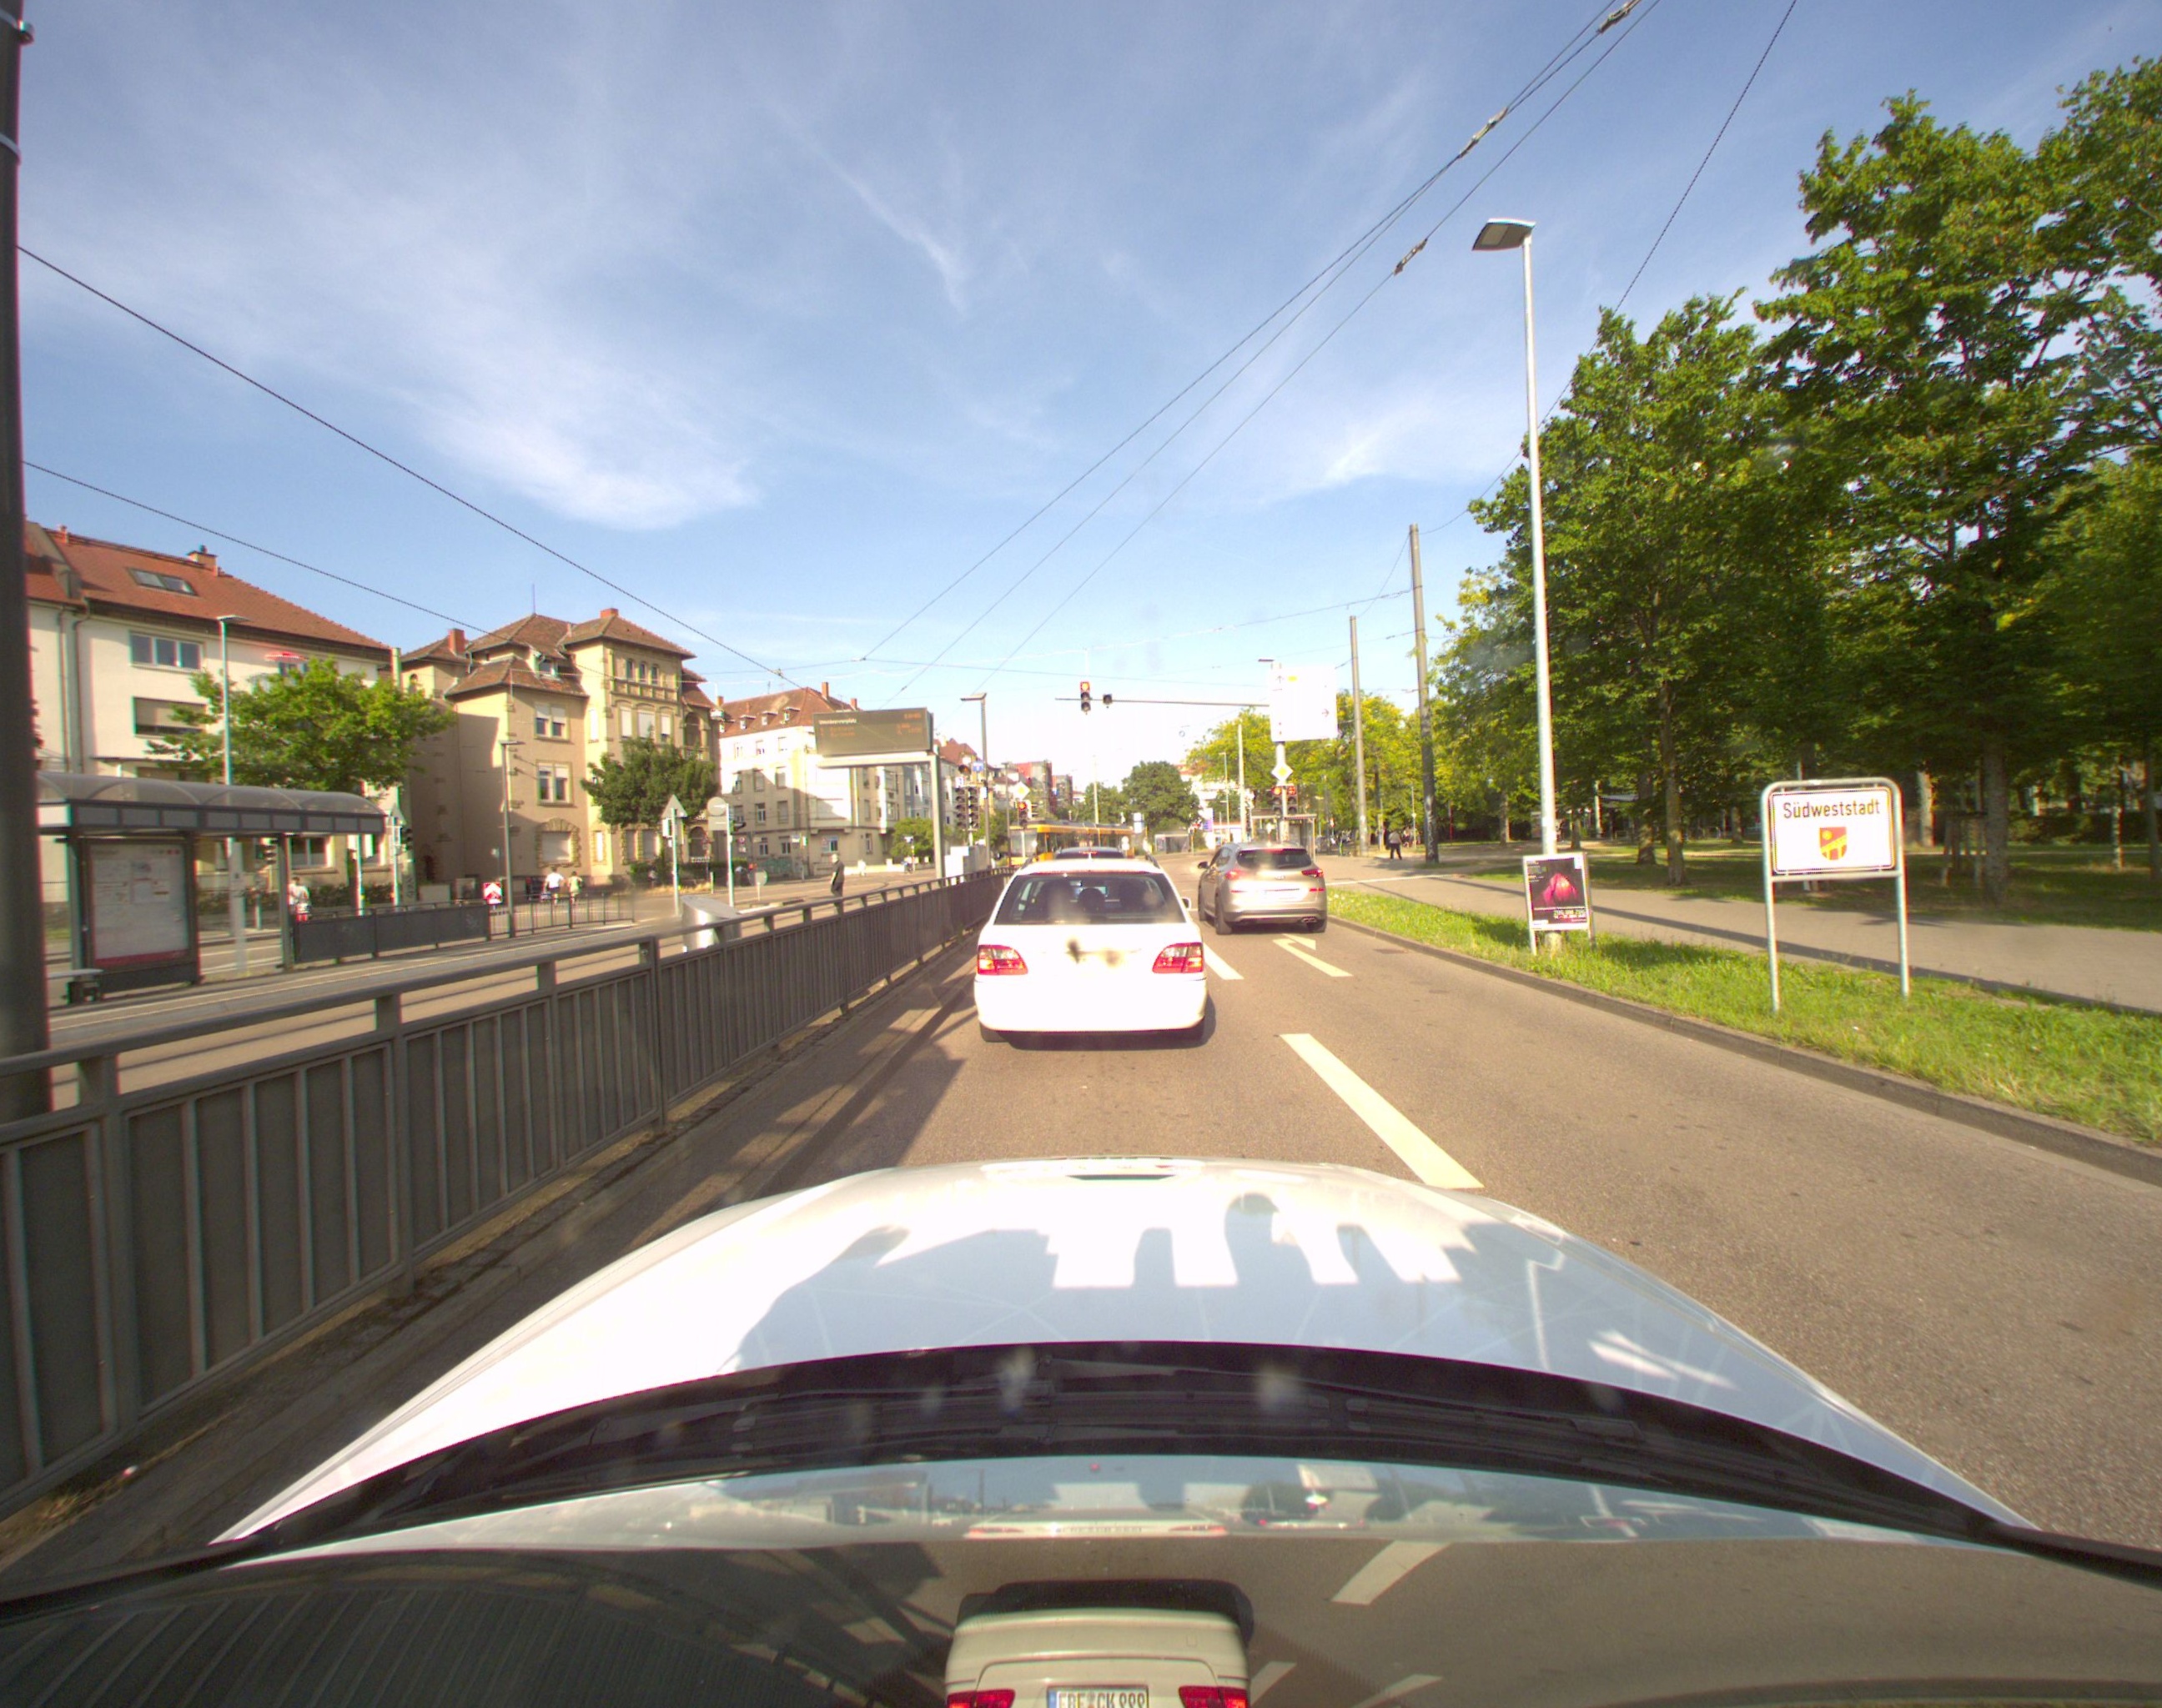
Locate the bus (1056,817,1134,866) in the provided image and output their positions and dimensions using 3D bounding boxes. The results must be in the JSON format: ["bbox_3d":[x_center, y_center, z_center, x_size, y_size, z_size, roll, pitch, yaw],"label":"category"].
[{"bbox_3d":[1.435,-0.913,66.990,3.084,3.606,12.646,-1,0,17],"label":"bus"}]

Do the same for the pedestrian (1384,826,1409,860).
[{"bbox_3d":[15.417,-0.527,39.770,0.758,1.636,0.799,-3,0,-38],"label":"pedestrian"}]

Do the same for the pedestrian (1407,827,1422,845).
[{"bbox_3d":[27.530,-1.487,67.218,0.813,1.487,0.698,-3,0,-10],"label":"pedestrian"}]

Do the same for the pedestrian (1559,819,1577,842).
[{"bbox_3d":[34.966,-1.680,58.493,0.831,1.636,0.804,-3,0,7],"label":"pedestrian"}]

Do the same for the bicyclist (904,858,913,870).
[{"bbox_3d":[-14.696,0.838,69.315,0.511,1.044,0.679,-3,0,1],"label":"bicyclist"}]

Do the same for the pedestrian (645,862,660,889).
[{"bbox_3d":[-24.491,1.214,46.548,0.434,1.500,0.551,-3,0,16],"label":"pedestrian"}]

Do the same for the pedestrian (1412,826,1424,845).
[{"bbox_3d":[27.210,-1.463,65.710,0.805,1.487,0.705,-3,0,26],"label":"pedestrian"}]

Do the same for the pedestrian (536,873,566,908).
[{"bbox_3d":[-24.782,1.700,38.069,0.822,1.552,0.786,-3,0,23],"label":"pedestrian"}]

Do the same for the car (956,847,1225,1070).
[{"bbox_3d":[0.107,0.700,7.349,1.789,1.470,3.649,-1,0,1],"label":"car"}]

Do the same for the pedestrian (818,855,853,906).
[{"bbox_3d":[-8.121,0.868,26.973,0.798,1.645,0.748,-3,0,-43],"label":"pedestrian"}]

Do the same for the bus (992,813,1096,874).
[{"bbox_3d":[-2.164,-0.594,54.951,3.085,3.606,12.428,-1,0,16],"label":"bus"}]

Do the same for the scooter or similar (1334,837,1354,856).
[{"bbox_3d":[15.702,-0.452,48.686,0.421,1.117,1.322,-3,0,-18],"label":"scooter or similar"}]

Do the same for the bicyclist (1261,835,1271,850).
[{"bbox_3d":[19.141,-1.190,84.299,0.856,1.481,0.791,-3,0,9],"label":"bicyclist"}]

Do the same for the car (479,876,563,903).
[{"bbox_3d":[-29.798,1.869,43.328,4.067,1.310,1.774,-1,0,23],"label":"car"}]

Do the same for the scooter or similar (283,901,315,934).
[{"bbox_3d":[-25.148,2.039,26.207,0.560,0.988,1.012,-3,0,-35],"label":"scooter or similar"}]

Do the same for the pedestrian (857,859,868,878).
[{"bbox_3d":[-18.366,1.190,68.332,0.627,1.541,0.711,-3,0,1],"label":"pedestrian"}]

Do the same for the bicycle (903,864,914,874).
[{"bbox_3d":[-14.673,1.285,69.428,0.524,0.834,1.687,-3,0,1],"label":"bicycle"}]

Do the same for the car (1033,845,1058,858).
[{"bbox_3d":[-5.995,-0.420,137.958,3.974,2.014,2.000,-1,0,0],"label":"car"}]

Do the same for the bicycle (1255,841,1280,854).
[{"bbox_3d":[19.281,-0.672,84.328,2.468,1.213,0.809,-3,0,9],"label":"bicycle"}]

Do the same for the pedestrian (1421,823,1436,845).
[{"bbox_3d":[28.549,-1.641,66.848,0.798,1.785,0.838,-3,0,-3],"label":"pedestrian"}]

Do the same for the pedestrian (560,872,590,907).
[{"bbox_3d":[-23.732,1.649,38.205,0.822,1.552,0.786,-3,0,23],"label":"pedestrian"}]

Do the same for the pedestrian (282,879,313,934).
[{"bbox_3d":[-25.809,1.713,26.838,0.551,1.746,0.755,-3,0,-35],"label":"pedestrian"}]

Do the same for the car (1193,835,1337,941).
[{"bbox_3d":[3.276,0.547,15.243,1.878,1.651,3.649,-3,0,1],"label":"car"}]

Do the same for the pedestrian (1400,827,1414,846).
[{"bbox_3d":[26.688,-1.402,66.621,0.820,1.487,0.692,-3,0,-40],"label":"pedestrian"}]

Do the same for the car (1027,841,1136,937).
[{"bbox_3d":[0.055,0.591,15.987,1.878,1.651,3.649,-1,0,1],"label":"car"}]
